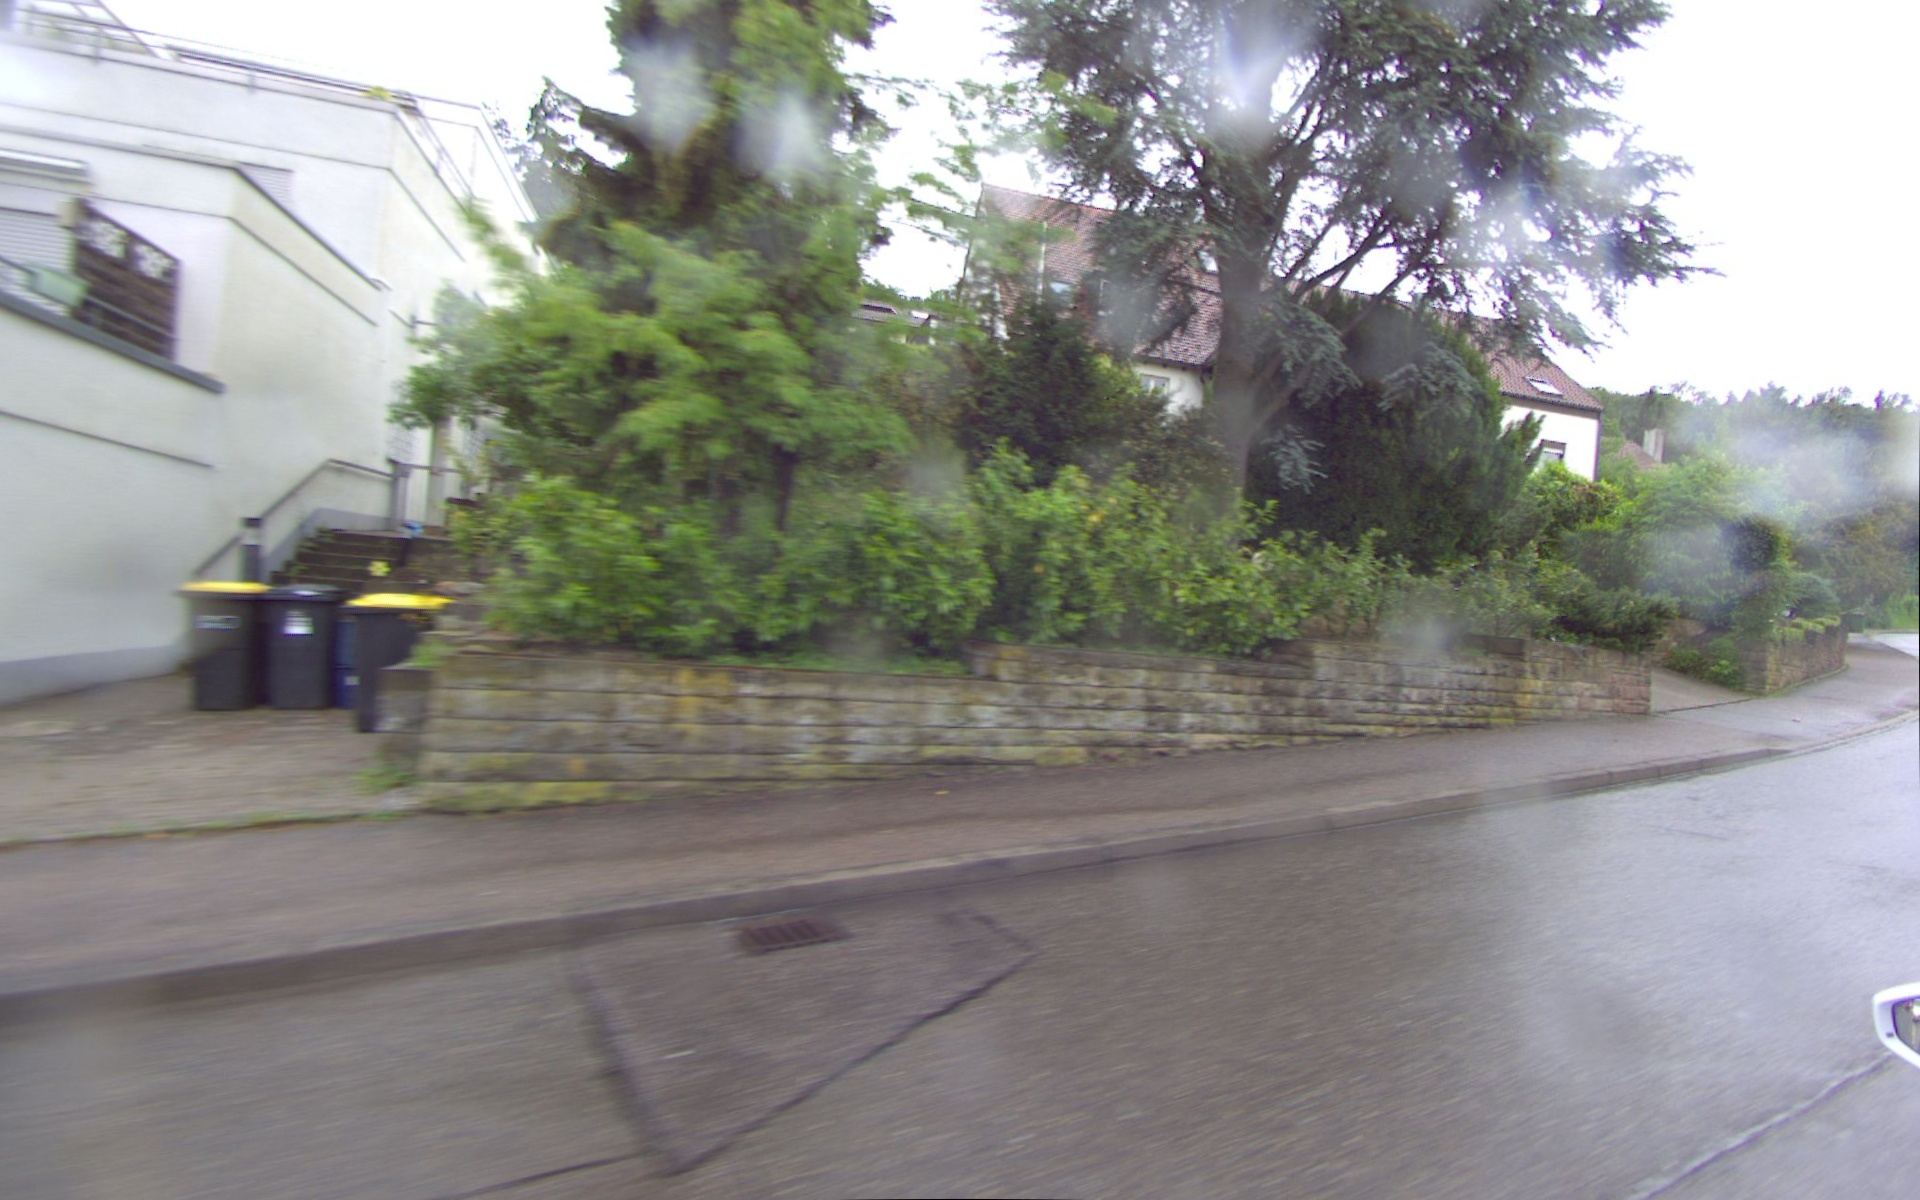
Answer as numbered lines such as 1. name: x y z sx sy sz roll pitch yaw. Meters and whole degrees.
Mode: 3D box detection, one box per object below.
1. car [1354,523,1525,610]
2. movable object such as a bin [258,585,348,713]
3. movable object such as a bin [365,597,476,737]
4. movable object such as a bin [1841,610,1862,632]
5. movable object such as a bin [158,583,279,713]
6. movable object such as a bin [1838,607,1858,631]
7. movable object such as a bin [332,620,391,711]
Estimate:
1. car: 11.554 -0.883 24.530 1.701 1.545 3.786 2 9 -12
2. movable object such as a bin: -5.780 0.418 8.862 0.513 1.070 0.577 1 2 -17
3. movable object such as a bin: -4.337 0.523 8.112 0.672 1.070 0.577 1 2 -18
4. movable object such as a bin: 48.833 1.141 55.031 0.732 1.108 0.754 3 2 38
5. movable object such as a bin: -6.354 0.400 8.643 0.672 1.070 0.577 1 2 -18
6. movable object such as a bin: 49.326 1.051 55.781 0.732 1.270 0.754 3 2 38
7. movable object such as a bin: -5.333 0.579 8.962 0.361 0.778 0.389 1 2 -17
